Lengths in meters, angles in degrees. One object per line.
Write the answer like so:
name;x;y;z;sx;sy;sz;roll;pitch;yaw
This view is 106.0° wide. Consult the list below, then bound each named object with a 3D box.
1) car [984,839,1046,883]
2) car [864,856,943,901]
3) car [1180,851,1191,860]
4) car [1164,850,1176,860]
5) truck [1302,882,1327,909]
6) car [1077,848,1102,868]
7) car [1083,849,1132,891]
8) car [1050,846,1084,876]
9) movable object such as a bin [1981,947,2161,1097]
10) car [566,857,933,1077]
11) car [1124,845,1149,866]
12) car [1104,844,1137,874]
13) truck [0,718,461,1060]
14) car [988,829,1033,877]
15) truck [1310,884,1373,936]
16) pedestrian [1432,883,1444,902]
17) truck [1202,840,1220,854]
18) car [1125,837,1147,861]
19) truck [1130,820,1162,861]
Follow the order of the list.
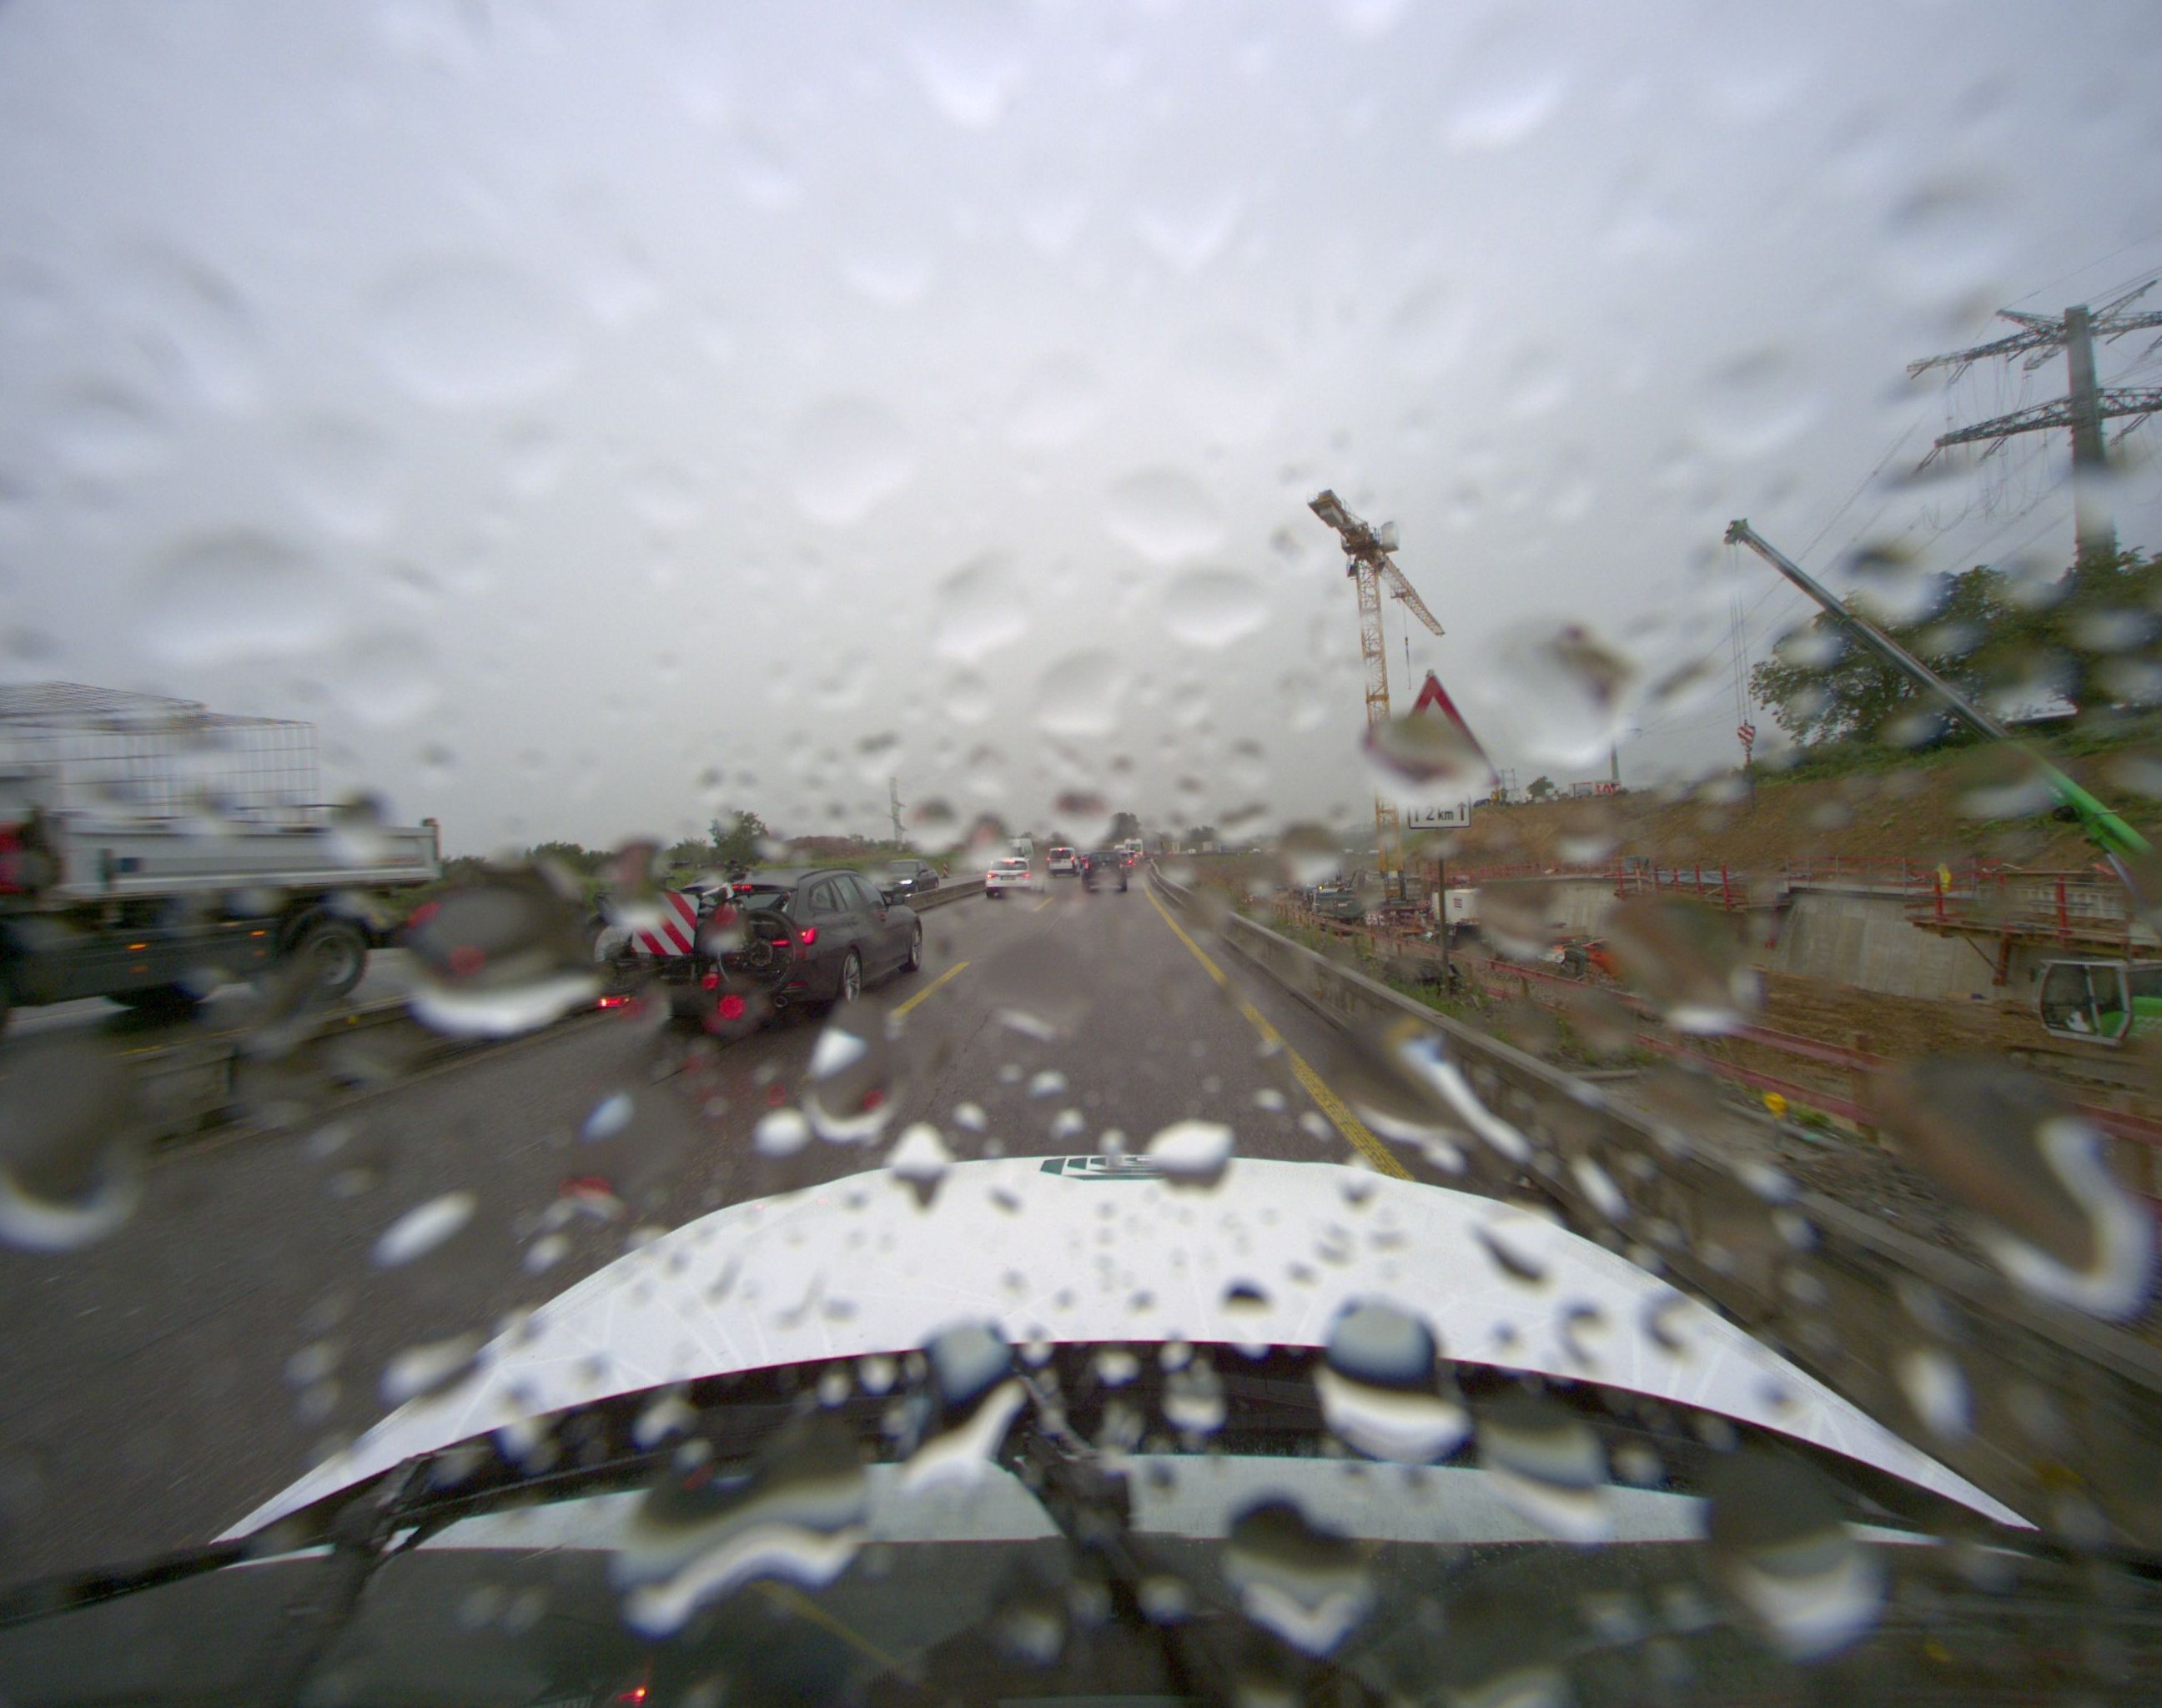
car;-2.346;0.251;30.006;1.819;1.499;4.002;-1;-1;2
car;-6.488;0.845;30.310;1.740;1.495;4.751;-1;0;2
car;26.374;0.460;205.089;2.020;2.256;4.174;-1;-1;15
car;20.009;0.305;182.296;2.019;2.113;4.175;-1;-1;16
truck;33.292;5.847;116.221;2.712;3.491;9.094;-1;-1;12
car;0.831;0.365;73.890;1.817;1.815;4.007;-1;-1;7
car;1.138;0.634;33.607;1.818;1.591;4.005;-1;-1;4
car;-0.854;0.446;51.725;1.818;1.815;4.003;-1;-1;3
movable object such as a bin;23.457;3.457;16.982;3.778;2.805;4.855;-2;-5;2
car;-3.019;0.865;8.990;1.729;1.462;5.628;-1;2;0
car;4.951;0.149;72.248;1.816;1.815;4.009;-1;-1;8
car;2.493;0.330;51.021;1.817;1.815;4.006;-1;-1;6
truck;-10.294;0.338;8.504;2.350;2.894;6.551;-3;0;2
car;-4.693;-0.069;55.285;1.985;3.045;7.177;-1;0;3
truck;20.067;4.222;63.297;2.687;3.503;8.959;-1;-1;5
pedestrian;41.171;4.454;93.902;0.897;1.999;0.901;9;0;11
truck;36.560;-2.100;228.644;3.444;3.715;8.457;-2;0;18
car;5.846;-0.473;86.027;1.815;2.437;4.170;-1;-1;11
truck;8.744;-1.643;107.946;3.524;5.077;10.464;-1;-1;8
